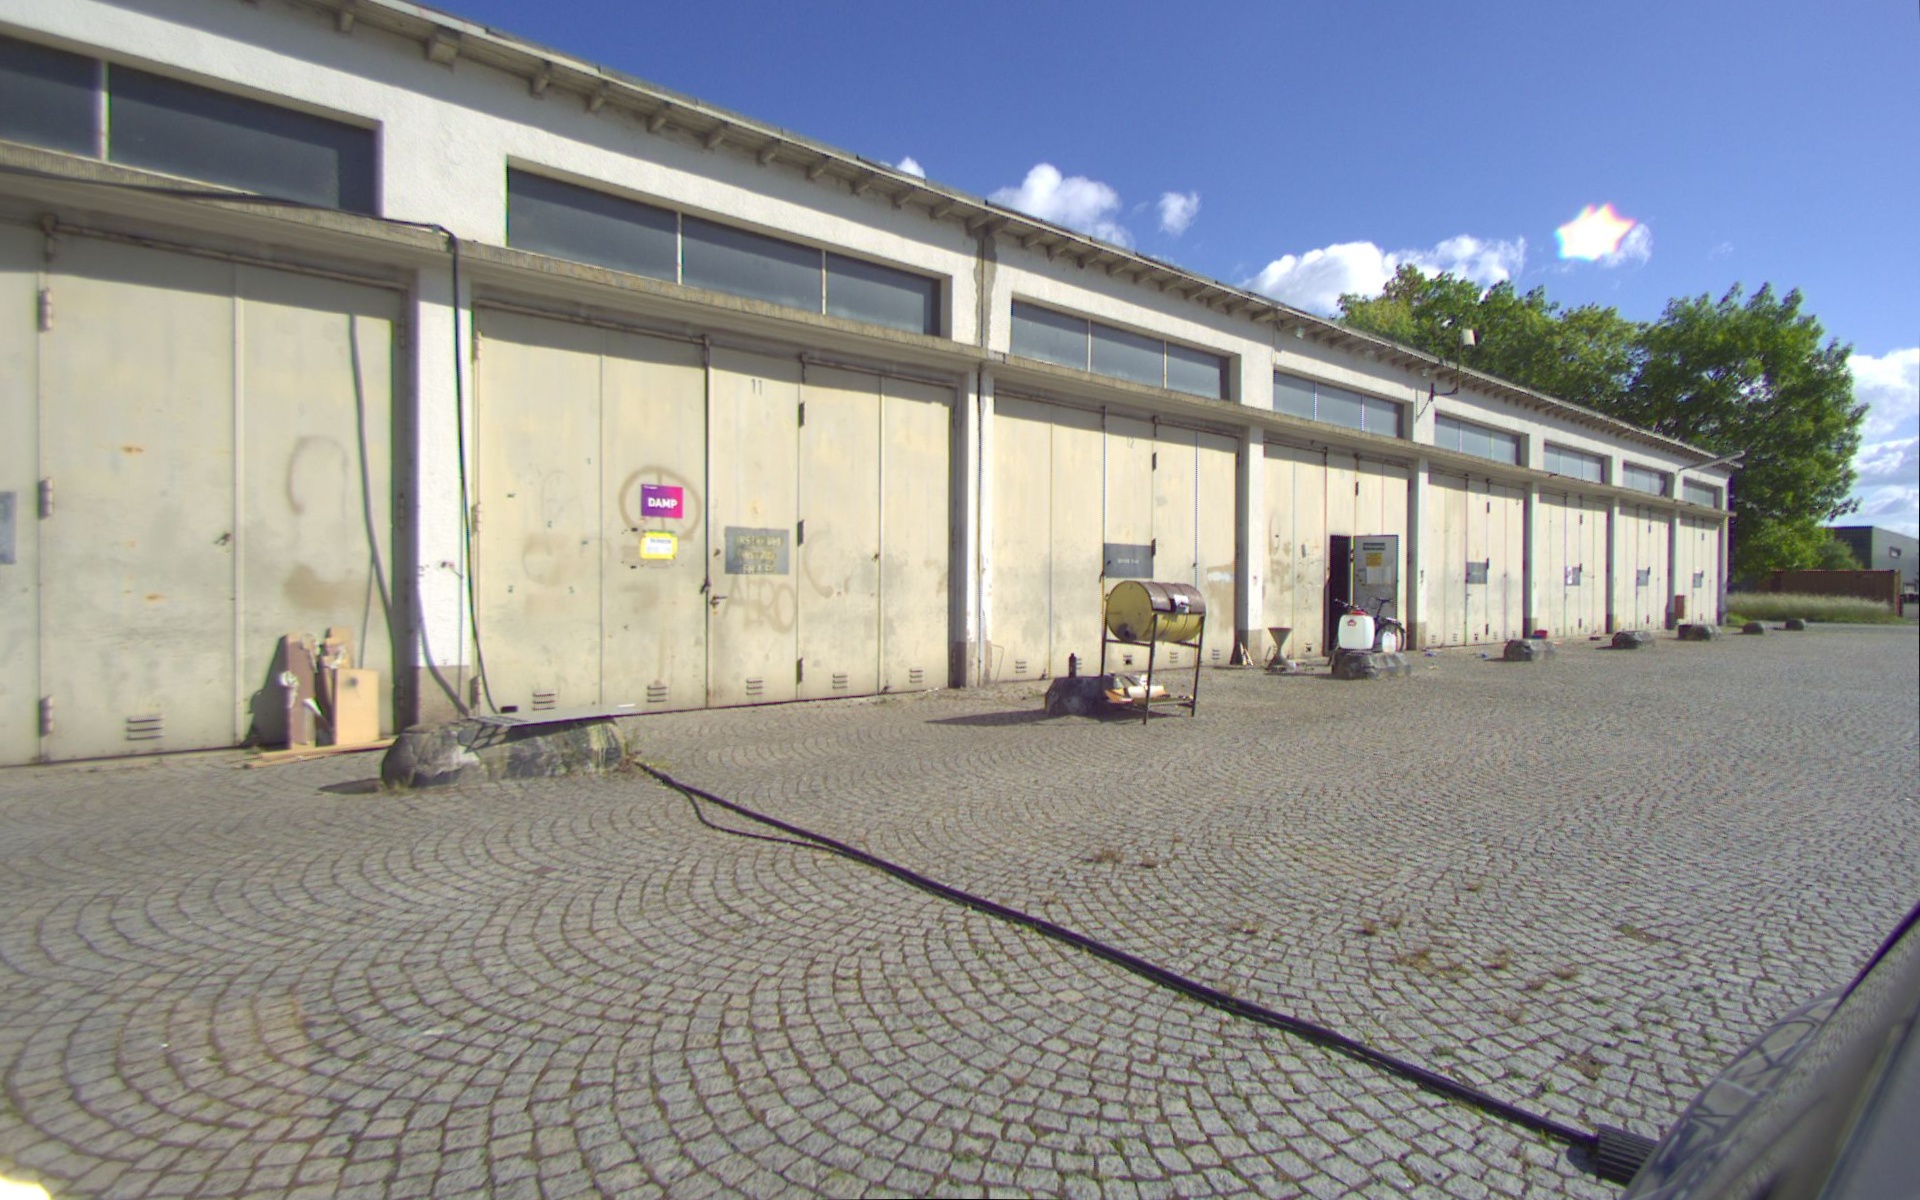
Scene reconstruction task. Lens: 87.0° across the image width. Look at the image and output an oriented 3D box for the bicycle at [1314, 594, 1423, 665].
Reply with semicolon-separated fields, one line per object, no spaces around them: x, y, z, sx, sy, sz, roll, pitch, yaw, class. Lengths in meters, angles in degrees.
6.732;0.462;16.656;1.787;1.081;0.667;-1;0;-29;bicycle
